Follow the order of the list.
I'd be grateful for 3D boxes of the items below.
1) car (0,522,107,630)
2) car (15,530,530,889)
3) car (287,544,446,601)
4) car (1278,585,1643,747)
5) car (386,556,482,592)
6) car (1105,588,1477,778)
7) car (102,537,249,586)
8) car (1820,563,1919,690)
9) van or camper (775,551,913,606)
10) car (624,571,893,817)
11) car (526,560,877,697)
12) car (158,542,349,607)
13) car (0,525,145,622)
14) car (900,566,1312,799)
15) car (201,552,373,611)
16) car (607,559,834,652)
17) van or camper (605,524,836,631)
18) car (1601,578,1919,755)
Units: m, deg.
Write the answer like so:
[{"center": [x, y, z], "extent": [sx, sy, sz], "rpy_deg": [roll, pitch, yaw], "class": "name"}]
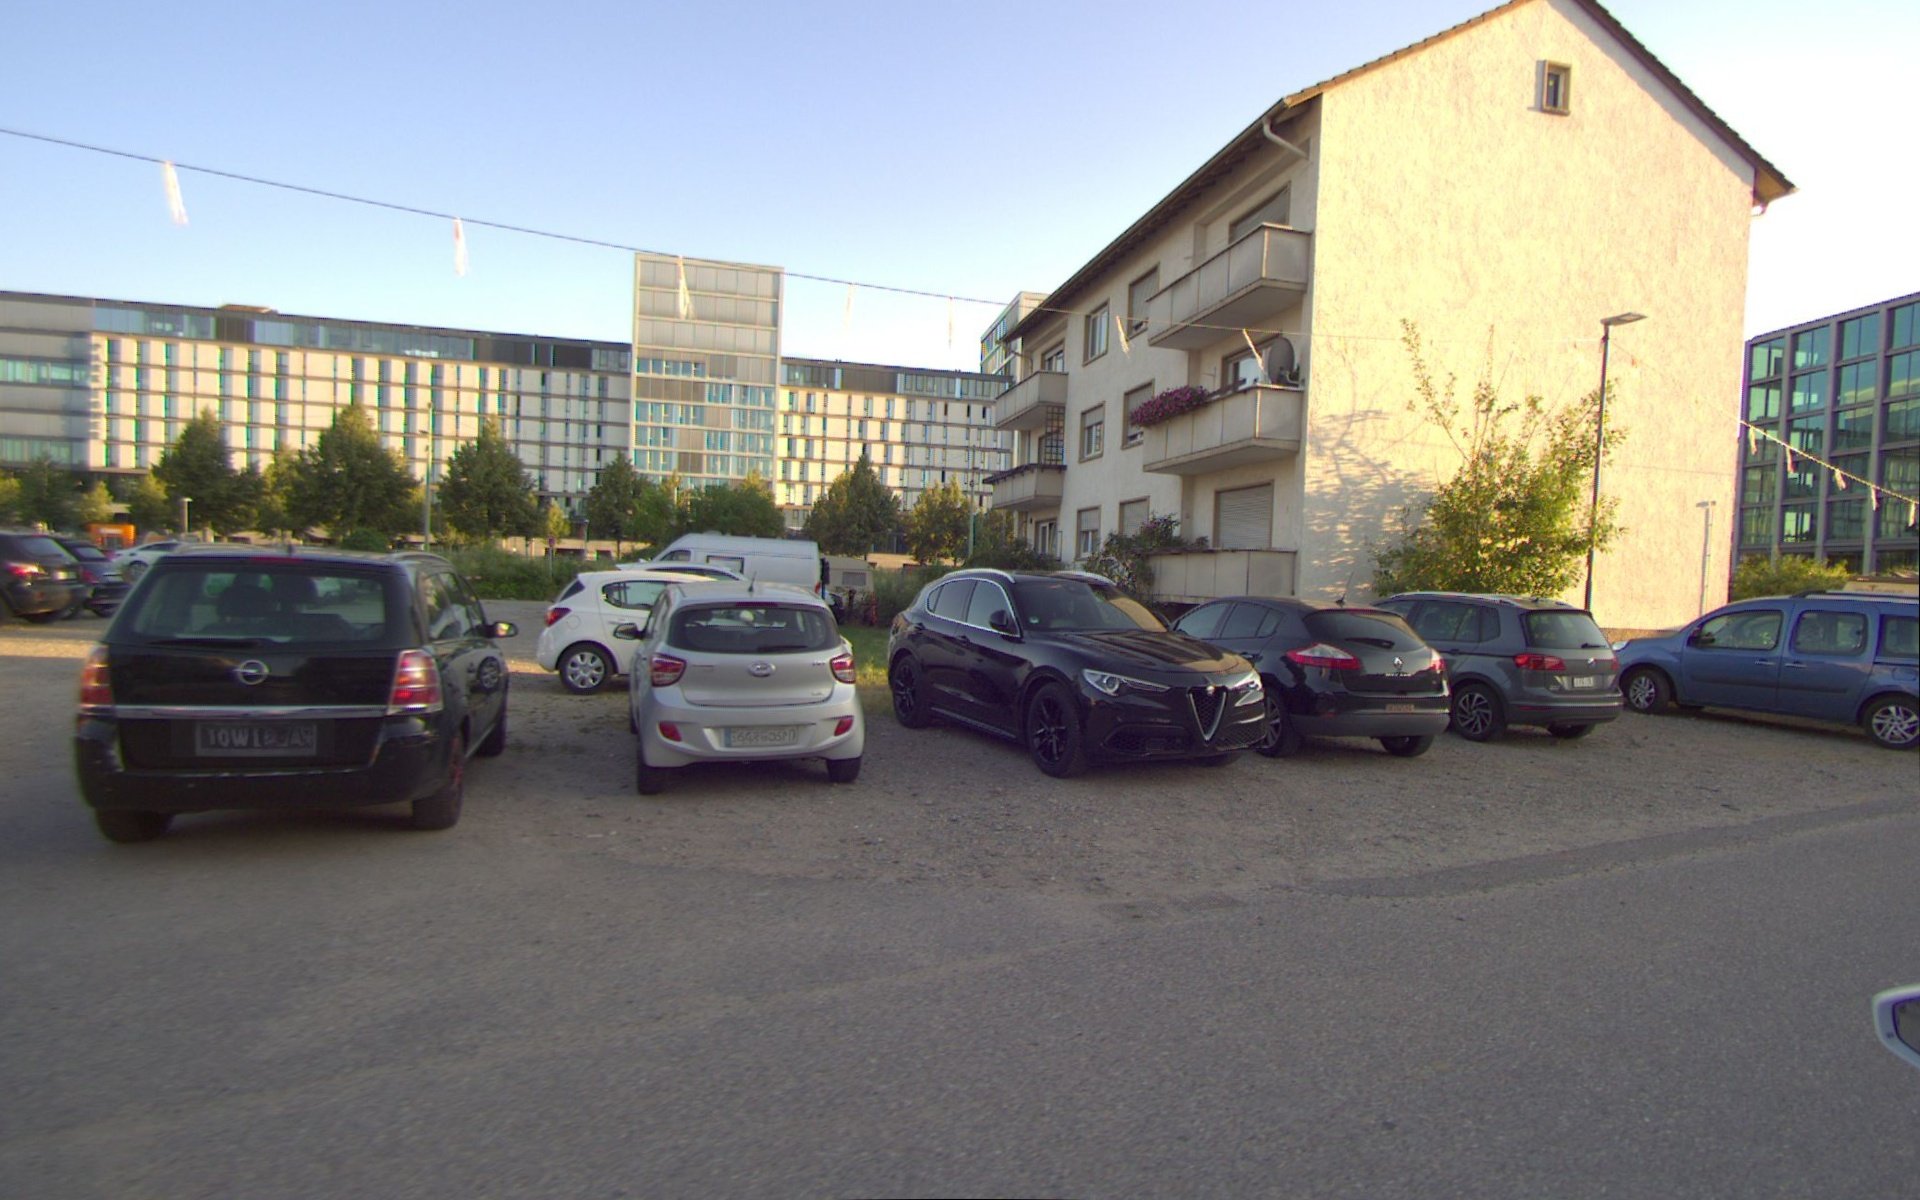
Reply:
[{"center": [-16.651, -0.452, 16.287], "extent": [3.883, 1.691, 1.839], "rpy_deg": [2, 1, -24], "class": "car"}, {"center": [-4.085, 0.480, 6.792], "extent": [1.821, 1.641, 4.031], "rpy_deg": [2, 1, -19], "class": "car"}, {"center": [-22.017, -1.019, 37.422], "extent": [4.754, 1.867, 1.680], "rpy_deg": [2, 1, -13], "class": "car"}, {"center": [5.908, 0.669, 12.409], "extent": [1.619, 1.601, 3.917], "rpy_deg": [1, 1, -22], "class": "car"}, {"center": [-25.933, -1.268, 49.650], "extent": [3.872, 1.560, 1.659], "rpy_deg": [2, 1, -15], "class": "car"}, {"center": [3.195, 0.716, 10.585], "extent": [1.618, 1.536, 3.921], "rpy_deg": [3, 1, -19], "class": "car"}, {"center": [-28.024, -1.351, 35.999], "extent": [3.808, 1.545, 1.563], "rpy_deg": [2, 1, -12], "class": "car"}, {"center": [22.784, 0.751, 21.361], "extent": [2.089, 2.749, 6.356], "rpy_deg": [3, 2, -30], "class": "car"}, {"center": [-4.856, -0.865, 41.730], "extent": [5.501, 2.021, 1.842], "rpy_deg": [2, 0, -13], "class": "van or camper"}, {"center": [-1.968, 0.579, 8.756], "extent": [1.781, 1.541, 3.920], "rpy_deg": [0, 3, -19], "class": "car"}, {"center": [-3.303, 0.366, 13.104], "extent": [4.084, 1.543, 1.842], "rpy_deg": [2, 1, -17], "class": "car"}, {"center": [-19.156, -0.674, 27.393], "extent": [3.872, 1.560, 1.659], "rpy_deg": [2, 1, -15], "class": "car"}, {"center": [-17.792, -0.527, 18.515], "extent": [3.883, 1.691, 1.839], "rpy_deg": [2, 1, -24], "class": "car"}, {"center": [1.058, 0.557, 9.333], "extent": [1.797, 1.649, 4.076], "rpy_deg": [2, 1, -26], "class": "car"}, {"center": [-19.976, -0.544, 29.982], "extent": [3.872, 1.560, 1.659], "rpy_deg": [2, 1, -15], "class": "car"}, {"center": [-4.806, 0.102, 20.418], "extent": [4.243, 1.653, 1.844], "rpy_deg": [2, 1, -13], "class": "car"}, {"center": [-6.151, -0.551, 26.147], "extent": [5.586, 2.425, 1.844], "rpy_deg": [2, 1, -13], "class": "van or camper"}, {"center": [11.252, 0.788, 13.597], "extent": [1.731, 1.937, 3.898], "rpy_deg": [1, 3, -36], "class": "car"}]
